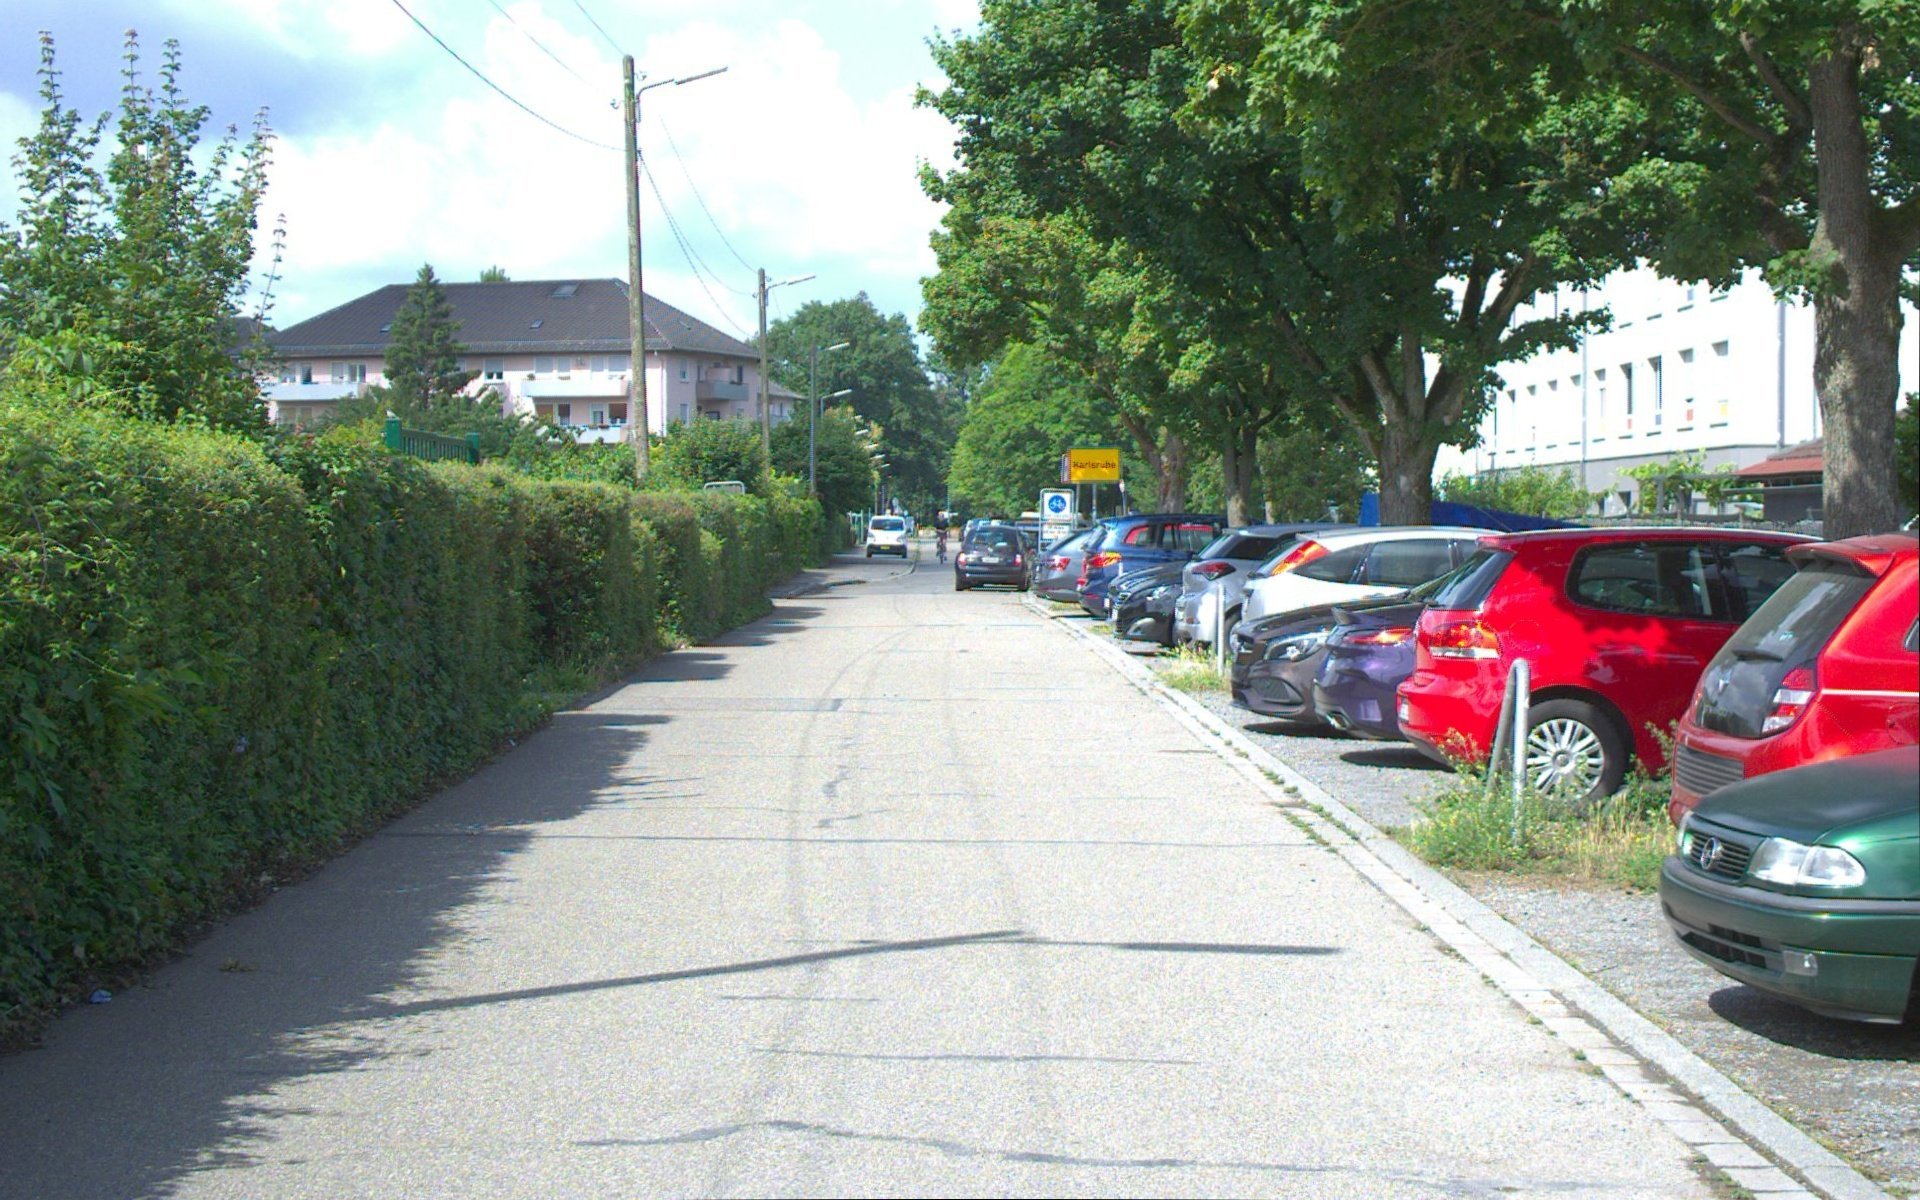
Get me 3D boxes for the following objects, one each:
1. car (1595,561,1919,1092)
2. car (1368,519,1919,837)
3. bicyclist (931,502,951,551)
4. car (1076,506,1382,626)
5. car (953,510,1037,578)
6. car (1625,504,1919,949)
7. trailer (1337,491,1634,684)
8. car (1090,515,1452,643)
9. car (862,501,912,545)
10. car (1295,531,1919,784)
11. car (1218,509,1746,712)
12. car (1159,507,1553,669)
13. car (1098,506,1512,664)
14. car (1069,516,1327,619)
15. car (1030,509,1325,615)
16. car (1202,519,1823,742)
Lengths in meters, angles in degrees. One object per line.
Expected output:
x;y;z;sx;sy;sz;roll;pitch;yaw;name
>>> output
4.275;0.652;10.439;4.238;1.423;1.909;1;1;-4;car
4.212;0.388;17.961;3.987;1.514;1.854;1;1;3;car
-0.731;-2.810;131.996;0.659;1.846;1.043;-1;1;2;bicyclist
3.753;-0.489;48.552;4.154;1.632;1.879;0;1;0;car
0.843;-1.309;79.831;1.663;1.501;4.000;1;1;4;car
4.637;0.470;13.161;3.764;1.568;1.870;1;1;-1;car
4.930;-0.137;32.438;2.449;1.714;1.518;1;2;-4;trailer
3.886;-0.275;43.477;4.335;1.487;1.976;1;1;-1;car
-3.128;-3.306;148.430;1.903;1.808;4.000;1;1;2;car
4.121;0.328;21.475;3.910;1.419;1.958;1;1;3;car
4.207;0.062;28.246;4.065;1.506;1.958;1;1;3;car
4.022;-0.132;35.326;3.723;1.534;1.850;1;1;-3;car
3.742;-0.177;37.908;4.302;1.588;2.000;1;1;-1;car
3.619;-0.508;52.738;3.809;1.527;1.762;0;1;0;car
3.448;-0.616;55.147;4.548;1.573;1.809;1;1;-1;car
3.884;0.197;24.641;4.065;1.450;1.870;1;1;-2;car
